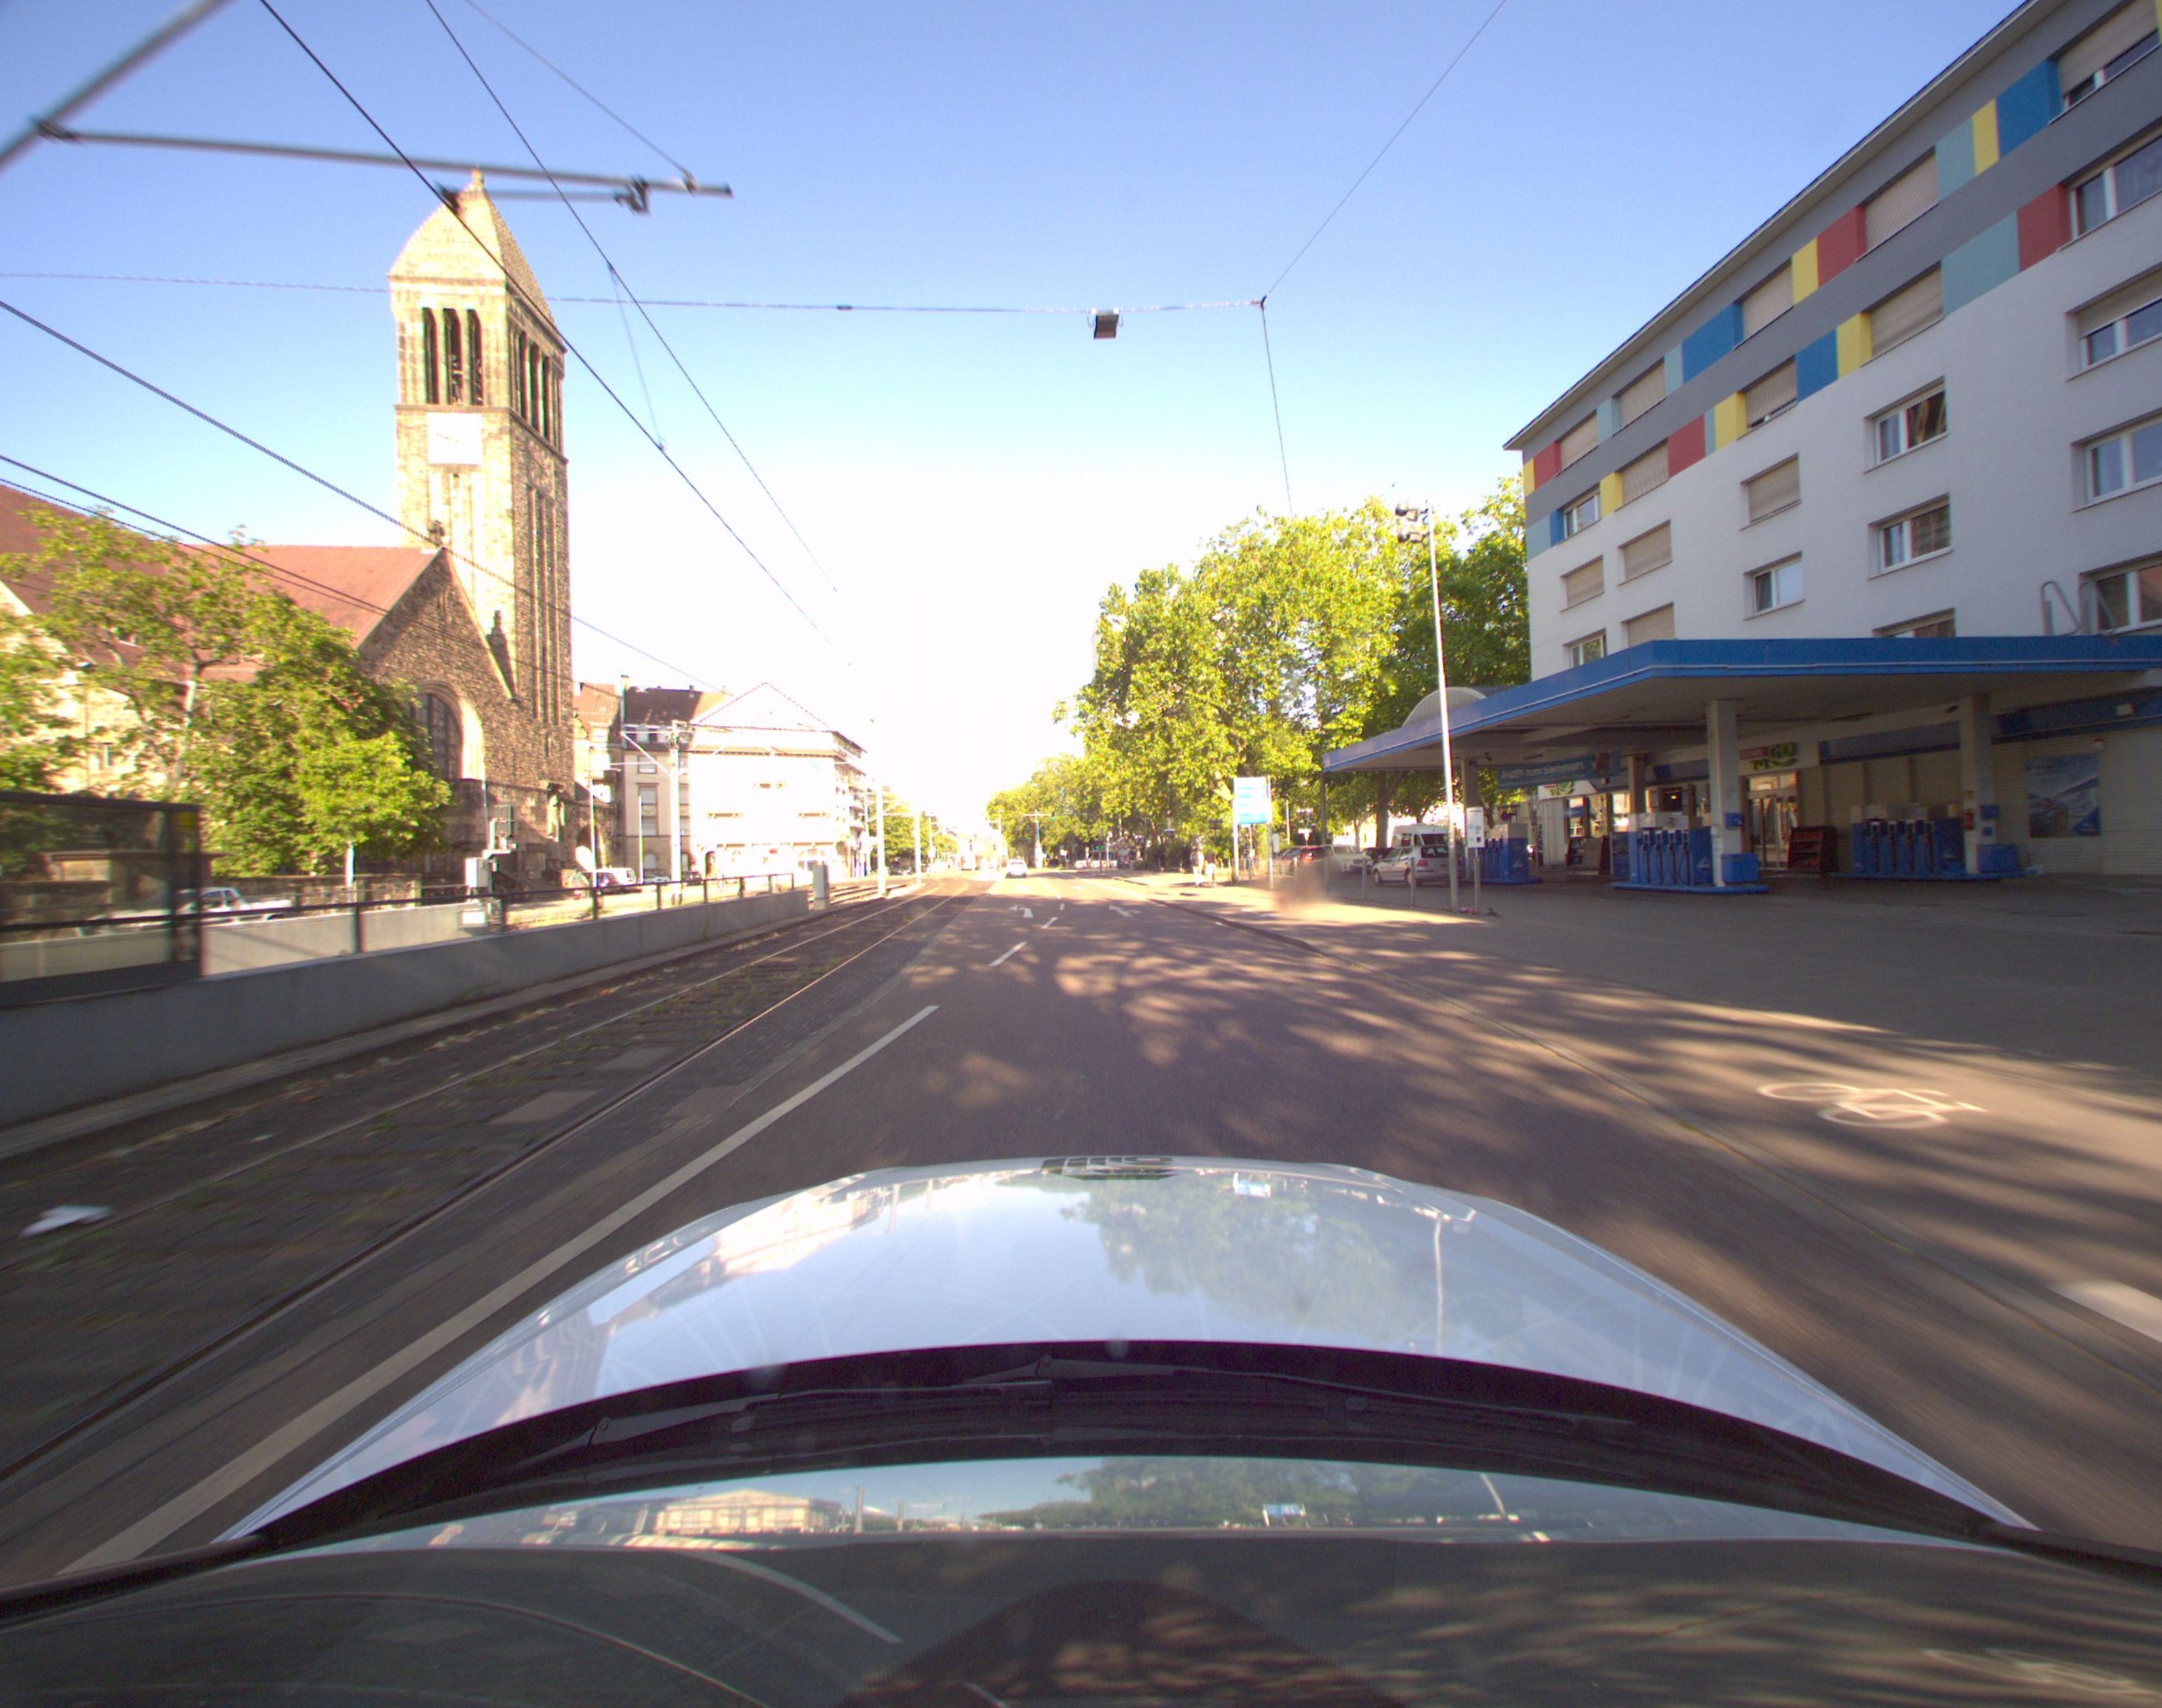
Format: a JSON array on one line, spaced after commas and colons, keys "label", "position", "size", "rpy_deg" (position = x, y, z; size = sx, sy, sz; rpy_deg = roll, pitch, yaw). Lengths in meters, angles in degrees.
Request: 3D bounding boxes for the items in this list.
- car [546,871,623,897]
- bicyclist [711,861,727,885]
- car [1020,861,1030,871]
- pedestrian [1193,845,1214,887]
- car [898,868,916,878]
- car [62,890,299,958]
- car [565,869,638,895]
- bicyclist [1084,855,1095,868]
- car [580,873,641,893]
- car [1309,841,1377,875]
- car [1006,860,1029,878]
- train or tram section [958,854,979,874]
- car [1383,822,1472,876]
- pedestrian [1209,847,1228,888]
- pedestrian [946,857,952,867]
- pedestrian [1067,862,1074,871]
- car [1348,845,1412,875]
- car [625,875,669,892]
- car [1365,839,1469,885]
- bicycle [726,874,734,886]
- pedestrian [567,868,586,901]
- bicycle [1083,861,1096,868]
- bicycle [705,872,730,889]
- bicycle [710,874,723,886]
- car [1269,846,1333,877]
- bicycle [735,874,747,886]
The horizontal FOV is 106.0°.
[{"label": "car", "position": [-33.509, 2.015, 55.026], "size": [3.977, 1.629, 1.893], "rpy_deg": [1, -1, -3]}, {"label": "bicyclist", "position": [-25.890, 1.349, 58.246], "size": [0.629, 1.722, 0.916], "rpy_deg": [-4, 0, 2]}, {"label": "car", "position": [-11.023, 2.375, 160.454], "size": [1.990, 2.014, 3.994], "rpy_deg": [1, -1, -4]}, {"label": "pedestrian", "position": [5.405, 0.520, 35.993], "size": [0.601, 1.776, 0.878], "rpy_deg": [-5, -1, -1]}, {"label": "car", "position": [-27.663, 2.945, 129.638], "size": [1.990, 1.449, 4.832], "rpy_deg": [-1, 0, -4]}, {"label": "car", "position": [-24.918, 1.864, 22.840], "size": [1.712, 1.555, 4.505], "rpy_deg": [1, -1, -3]}, {"label": "car", "position": [-34.003, 1.995, 57.877], "size": [3.977, 1.756, 1.893], "rpy_deg": [1, -1, -3]}, {"label": "bicyclist", "position": [1.141, 1.011, 107.942], "size": [1.199, 1.696, 0.900], "rpy_deg": [1, -1, -12]}, {"label": "car", "position": [-44.290, 2.709, 76.695], "size": [4.955, 1.753, 1.980], "rpy_deg": [1, -1, -32]}, {"label": "car", "position": [14.433, 0.201, 45.169], "size": [1.857, 1.735, 4.791], "rpy_deg": [-2, 0, -5]}, {"label": "car", "position": [-5.193, 1.196, 66.210], "size": [1.743, 1.462, 3.637], "rpy_deg": [1, 0, -6]}, {"label": "train or tram section", "position": [-20.459, 1.850, 148.611], "size": [2.947, 3.410, 10.774], "rpy_deg": [1, -1, -4]}, {"label": "car", "position": [19.662, -0.253, 46.584], "size": [2.237, 2.833, 5.787], "rpy_deg": [-2, -1, -4]}, {"label": "pedestrian", "position": [6.079, 0.602, 36.022], "size": [0.601, 1.776, 0.689], "rpy_deg": [-5, -1, -1]}, {"label": "pedestrian", "position": [-22.996, 1.388, 142.084], "size": [0.962, 1.833, 0.986], "rpy_deg": [1, -1, -11]}, {"label": "pedestrian", "position": [-1.548, 1.778, 115.873], "size": [0.653, 1.388, 0.837], "rpy_deg": [0, -1, 27]}, {"label": "car", "position": [16.633, 0.310, 45.511], "size": [1.857, 1.570, 3.994], "rpy_deg": [-2, 0, -5]}, {"label": "car", "position": [-46.400, 3.131, 87.077], "size": [4.539, 1.753, 2.012], "rpy_deg": [0, -1, 30]}, {"label": "car", "position": [11.464, 0.276, 28.064], "size": [1.565, 1.430, 4.090], "rpy_deg": [-2, -1, -5]}, {"label": "bicycle", "position": [-39.176, 2.854, 90.852], "size": [0.825, 1.283, 2.545], "rpy_deg": [1, -1, -23]}, {"label": "pedestrian", "position": [-29.413, 1.759, 47.448], "size": [0.603, 1.887, 0.756], "rpy_deg": [1, -1, -2]}, {"label": "bicycle", "position": [1.156, 1.385, 107.845], "size": [1.199, 0.935, 2.564], "rpy_deg": [1, -1, -11]}, {"label": "bicycle", "position": [-25.872, 1.864, 58.044], "size": [0.629, 1.144, 2.280], "rpy_deg": [-4, 0, 2]}, {"label": "bicycle", "position": [-40.475, 2.834, 90.400], "size": [0.827, 1.283, 2.537], "rpy_deg": [1, -1, -35]}, {"label": "car", "position": [12.259, 0.401, 45.715], "size": [1.816, 1.602, 4.650], "rpy_deg": [-2, 0, -7]}, {"label": "bicycle", "position": [-38.317, 2.874, 91.868], "size": [0.822, 1.283, 2.553], "rpy_deg": [1, -1, -13]}]
